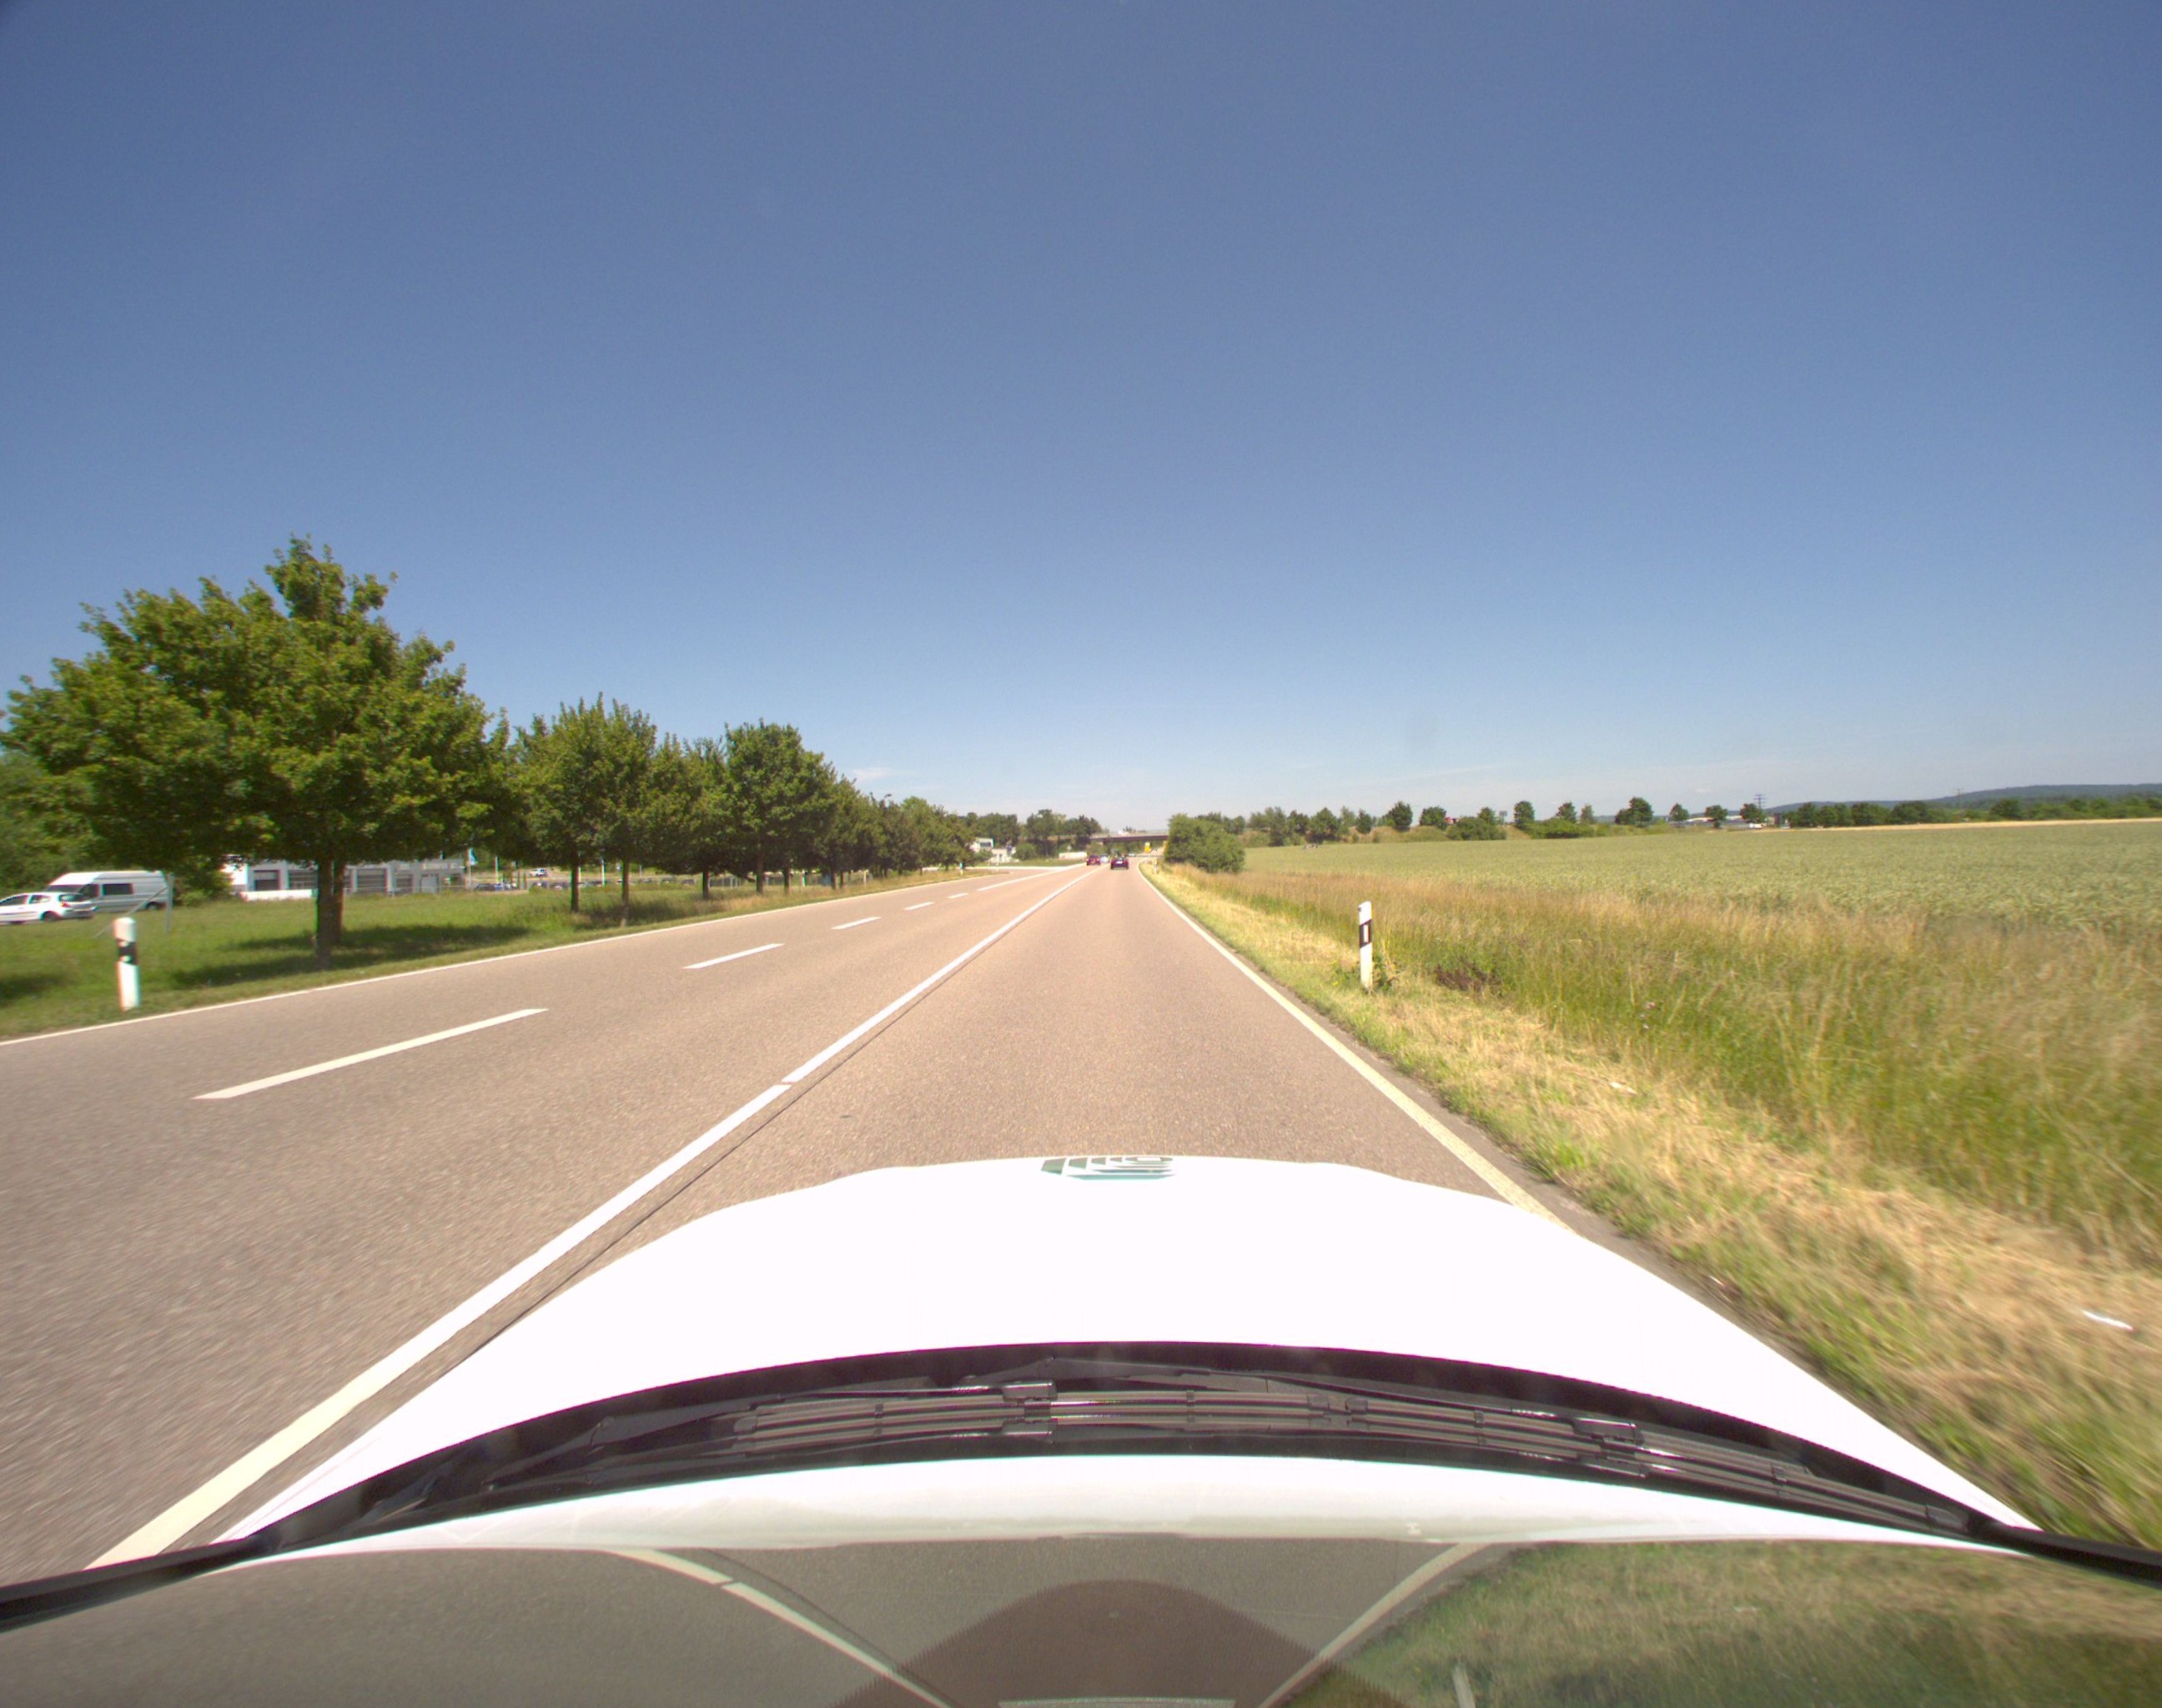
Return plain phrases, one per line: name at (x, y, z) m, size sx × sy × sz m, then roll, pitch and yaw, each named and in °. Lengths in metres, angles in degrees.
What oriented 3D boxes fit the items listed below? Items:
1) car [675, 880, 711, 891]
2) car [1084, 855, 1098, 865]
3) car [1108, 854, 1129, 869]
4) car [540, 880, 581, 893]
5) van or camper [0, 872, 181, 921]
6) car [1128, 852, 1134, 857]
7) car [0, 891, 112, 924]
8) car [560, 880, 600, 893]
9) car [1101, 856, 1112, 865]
car at (-54.099, 4.400, 113.544) m, size 1.974 × 1.394 × 4.025 m, roll -2°, pitch -1°, yaw 29°
car at (1.353, 0.781, 108.815) m, size 1.736 × 1.411 × 4.626 m, roll 0°, pitch 0°, yaw 2°
car at (3.627, 0.731, 79.452) m, size 1.808 × 1.441 × 3.999 m, roll -1°, pitch 0°, yaw 0°
car at (-68.067, 4.233, 106.527) m, size 1.974 × 1.394 × 4.025 m, roll -2°, pitch -1°, yaw 29°
van or camper at (-54.173, 2.226, 44.687) m, size 2.457 × 2.363 × 6.531 m, roll -1°, pitch -1°, yaw -3°
car at (15.415, 0.195, 249.824) m, size 1.824 × 1.567 × 3.335 m, roll 0°, pitch -1°, yaw 2°
car at (-48.619, 2.485, 37.959) m, size 3.995 × 1.354 × 1.989 m, roll -1°, pitch -1°, yaw -16°
car at (-64.986, 4.198, 105.682) m, size 1.974 × 1.394 × 4.025 m, roll -2°, pitch -1°, yaw 29°
car at (4.299, 1.119, 134.966) m, size 1.724 × 1.391 × 4.494 m, roll -1°, pitch 0°, yaw 3°
